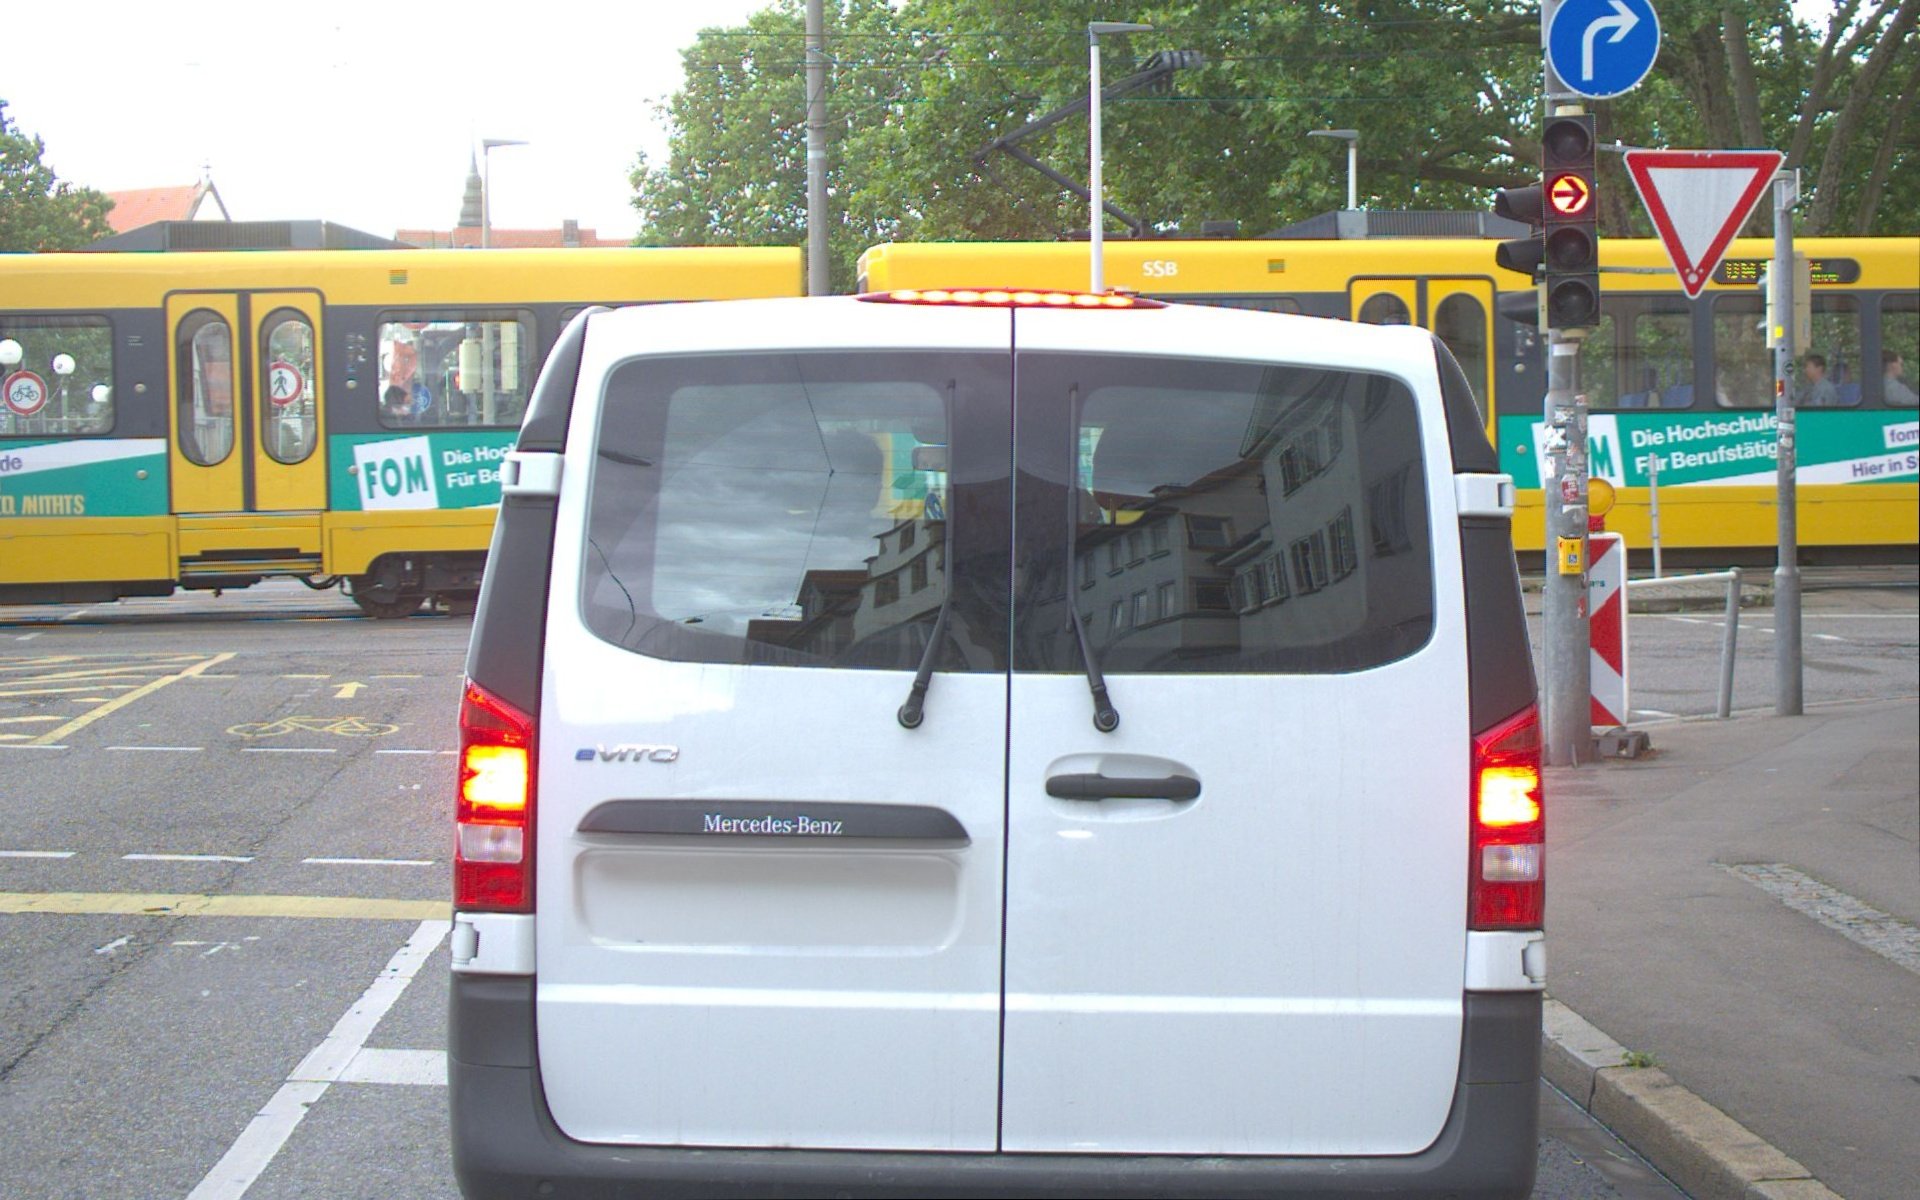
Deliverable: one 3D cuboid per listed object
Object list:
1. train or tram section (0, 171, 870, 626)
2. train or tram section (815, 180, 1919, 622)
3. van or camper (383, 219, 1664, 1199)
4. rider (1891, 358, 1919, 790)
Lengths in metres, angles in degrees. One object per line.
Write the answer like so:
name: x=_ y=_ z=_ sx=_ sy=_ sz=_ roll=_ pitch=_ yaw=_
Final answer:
train or tram section: x=-10.639 y=-1.796 z=32.141 sx=19.220 sy=3.988 sz=3.311 roll=-2 pitch=4 yaw=-10
train or tram section: x=8.059 y=-2.131 z=34.733 sx=18.766 sy=3.988 sz=3.267 roll=-2 pitch=4 yaw=-6
van or camper: x=-0.013 y=0.331 z=7.475 sx=1.937 sy=1.918 sz=4.442 roll=1 pitch=2 yaw=-3
rider: x=4.443 y=-0.114 z=14.600 sx=0.718 sy=1.841 sz=0.797 roll=-1 pitch=1 yaw=-1
